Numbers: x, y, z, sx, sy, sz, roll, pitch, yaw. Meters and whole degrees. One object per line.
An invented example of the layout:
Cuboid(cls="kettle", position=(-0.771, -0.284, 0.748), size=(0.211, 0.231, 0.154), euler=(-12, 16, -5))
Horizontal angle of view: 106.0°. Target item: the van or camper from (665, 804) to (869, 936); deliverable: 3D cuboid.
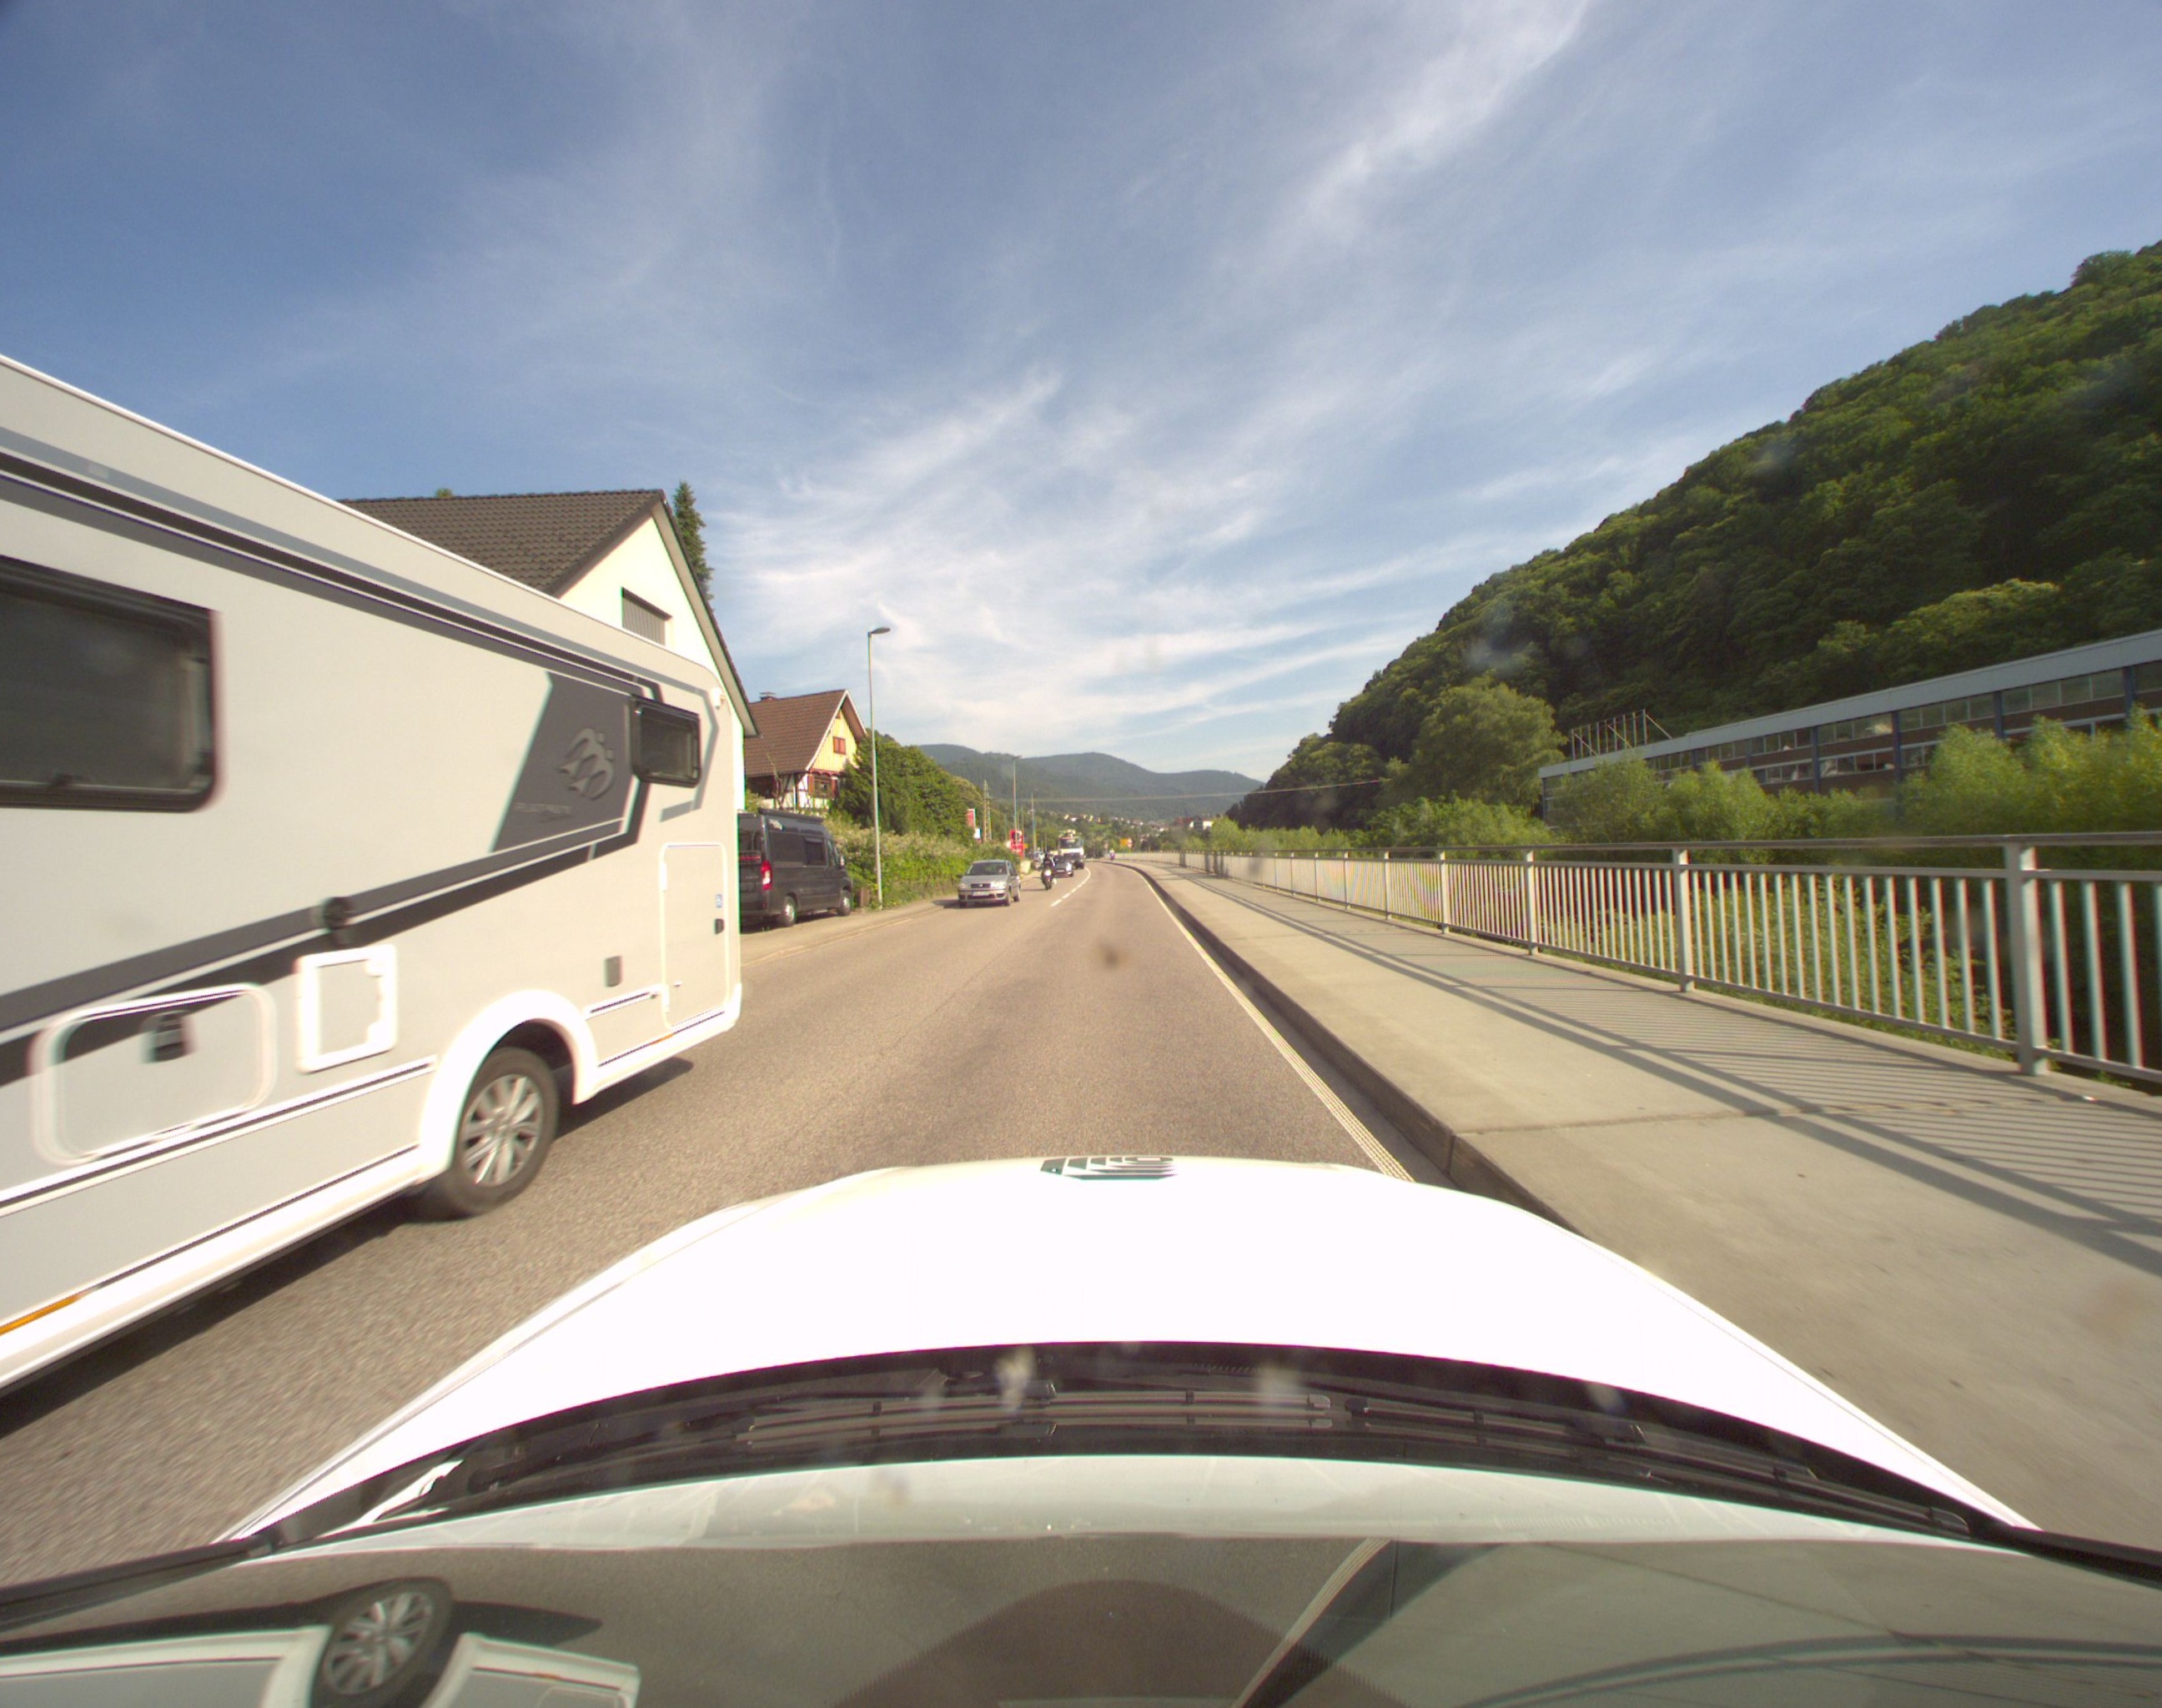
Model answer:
Cuboid(cls="van or camper", position=(-7.058, 0.327, 19.250), size=(2.139, 2.555, 5.907), euler=(-2, 0, 3))

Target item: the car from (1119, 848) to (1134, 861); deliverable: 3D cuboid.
Cuboid(cls="car", position=(6.245, 0.084, 112.120), size=(1.744, 1.503, 4.191), euler=(-12, 0, 1))

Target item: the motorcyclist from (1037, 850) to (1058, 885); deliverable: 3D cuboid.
Cuboid(cls="motorcyclist", position=(-1.545, 0.601, 37.379), size=(0.821, 1.558, 0.629), euler=(-3, -1, 5))

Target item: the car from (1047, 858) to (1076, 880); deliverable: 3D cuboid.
Cuboid(cls="car", position=(-1.357, 1.027, 57.320), size=(1.707, 1.403, 4.003), euler=(-2, -1, 3))

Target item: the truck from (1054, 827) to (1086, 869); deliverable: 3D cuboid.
Cuboid(cls="truck", position=(-1.227, -0.556, 83.210), size=(2.572, 3.931, 11.292), euler=(-3, 0, -3))

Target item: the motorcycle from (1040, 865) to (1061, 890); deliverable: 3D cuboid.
Cuboid(cls="motorcycle", position=(-1.403, 1.048, 37.454), size=(0.651, 1.068, 2.185), euler=(-3, 0, 5))

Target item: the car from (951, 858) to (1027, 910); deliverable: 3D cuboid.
Cuboid(cls="car", position=(-2.899, 0.922, 26.461), size=(1.622, 1.485, 4.005), euler=(-2, 0, 5))

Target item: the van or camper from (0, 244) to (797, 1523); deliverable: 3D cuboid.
Cuboid(cls="van or camper", position=(-3.527, 0.071, 2.803), size=(2.186, 2.938, 7.133), euler=(-1, 0, 3))
